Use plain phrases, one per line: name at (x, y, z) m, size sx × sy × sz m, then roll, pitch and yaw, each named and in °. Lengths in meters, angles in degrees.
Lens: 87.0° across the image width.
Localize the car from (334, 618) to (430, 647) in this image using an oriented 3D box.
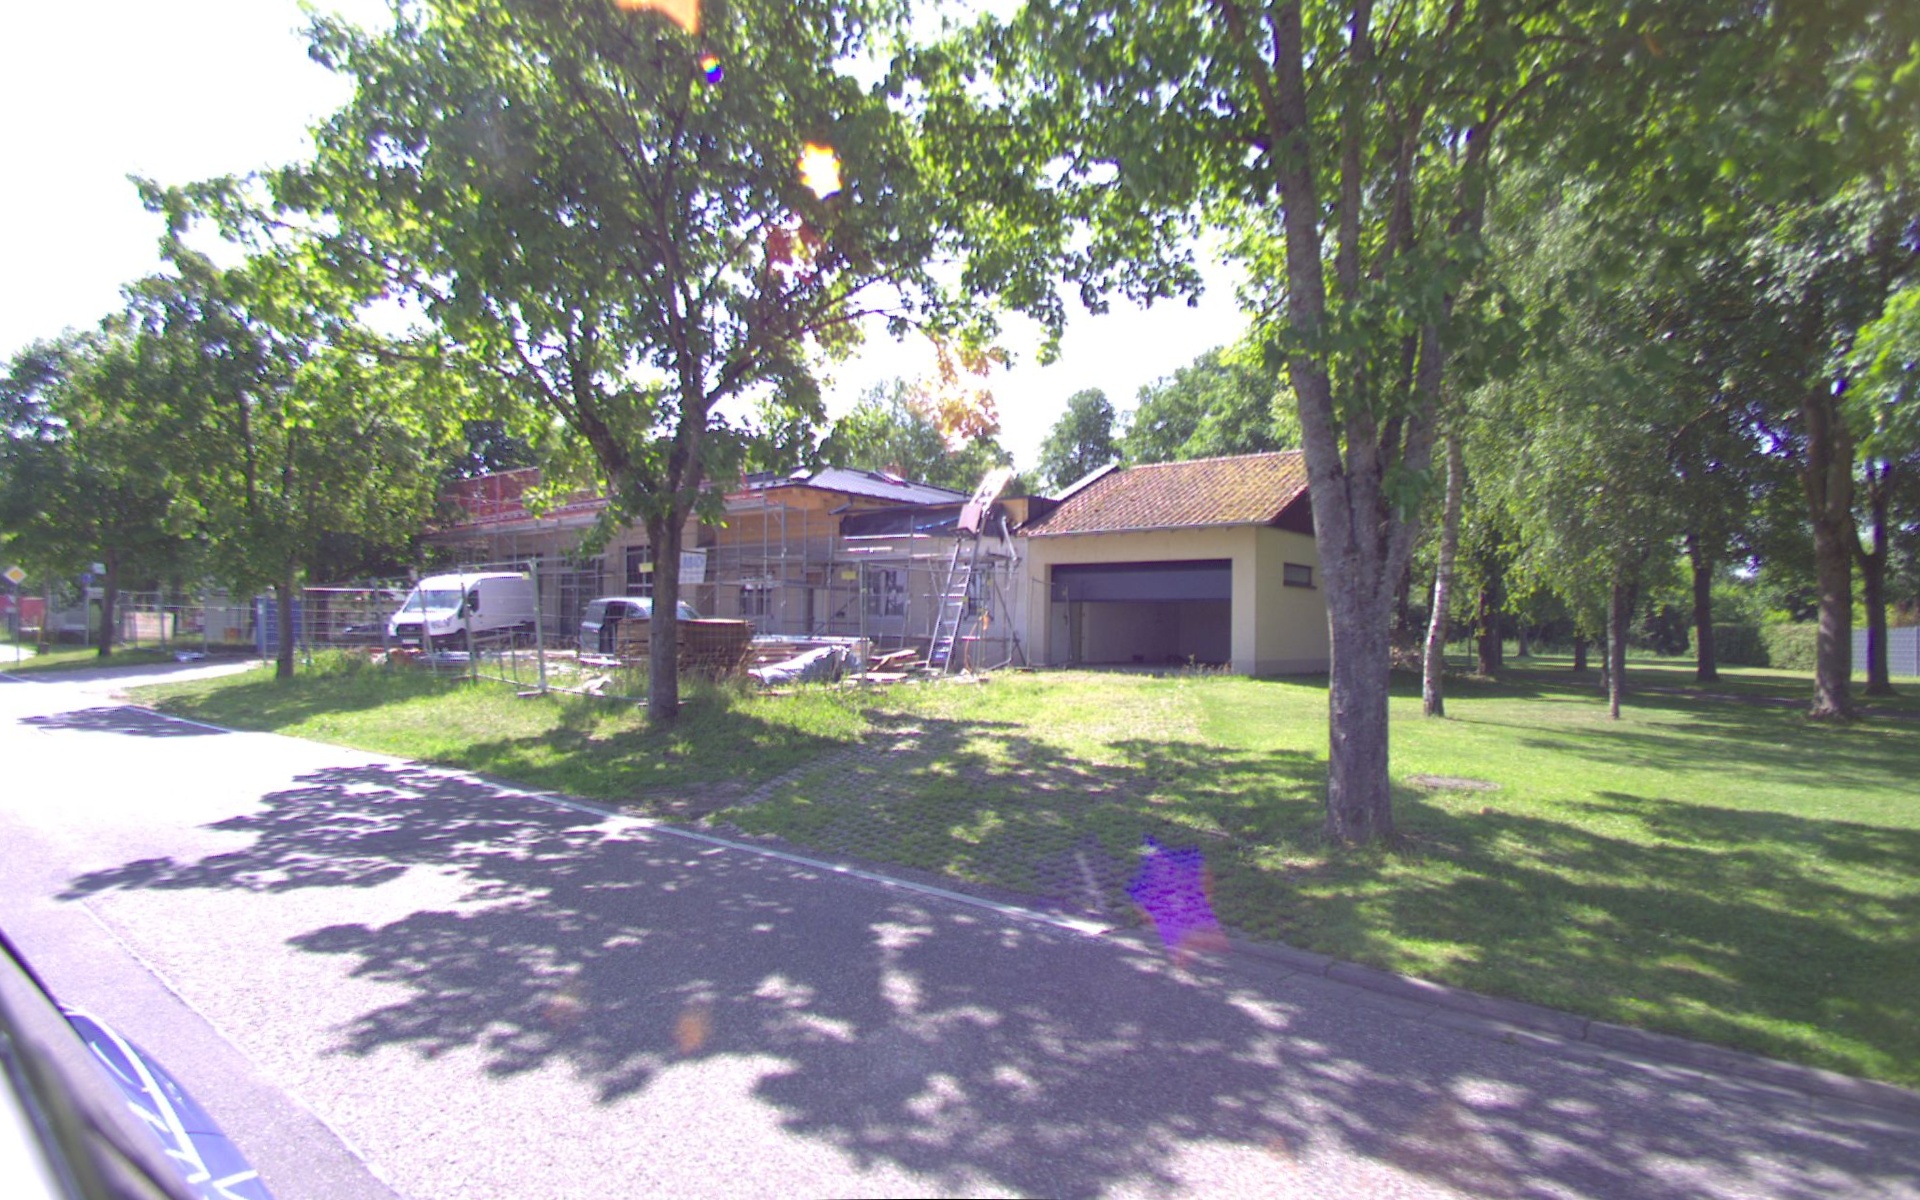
car at (-28.848, 1.617, 50.583) m, size 1.754 × 1.410 × 3.769 m, roll 0°, pitch -2°, yaw 33°

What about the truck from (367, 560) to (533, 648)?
truck at (-15.916, 0.159, 32.067) m, size 1.974 × 2.502 × 5.925 m, roll 1°, pitch -1°, yaw 3°

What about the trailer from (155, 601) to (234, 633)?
trailer at (-55.832, 1.259, 73.919) m, size 1.819 × 2.295 × 4.198 m, roll 0°, pitch -2°, yaw 27°

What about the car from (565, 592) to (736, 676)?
car at (-7.563, 0.790, 24.555) m, size 4.325 × 1.852 × 1.950 m, roll -1°, pitch -1°, yaw 40°
